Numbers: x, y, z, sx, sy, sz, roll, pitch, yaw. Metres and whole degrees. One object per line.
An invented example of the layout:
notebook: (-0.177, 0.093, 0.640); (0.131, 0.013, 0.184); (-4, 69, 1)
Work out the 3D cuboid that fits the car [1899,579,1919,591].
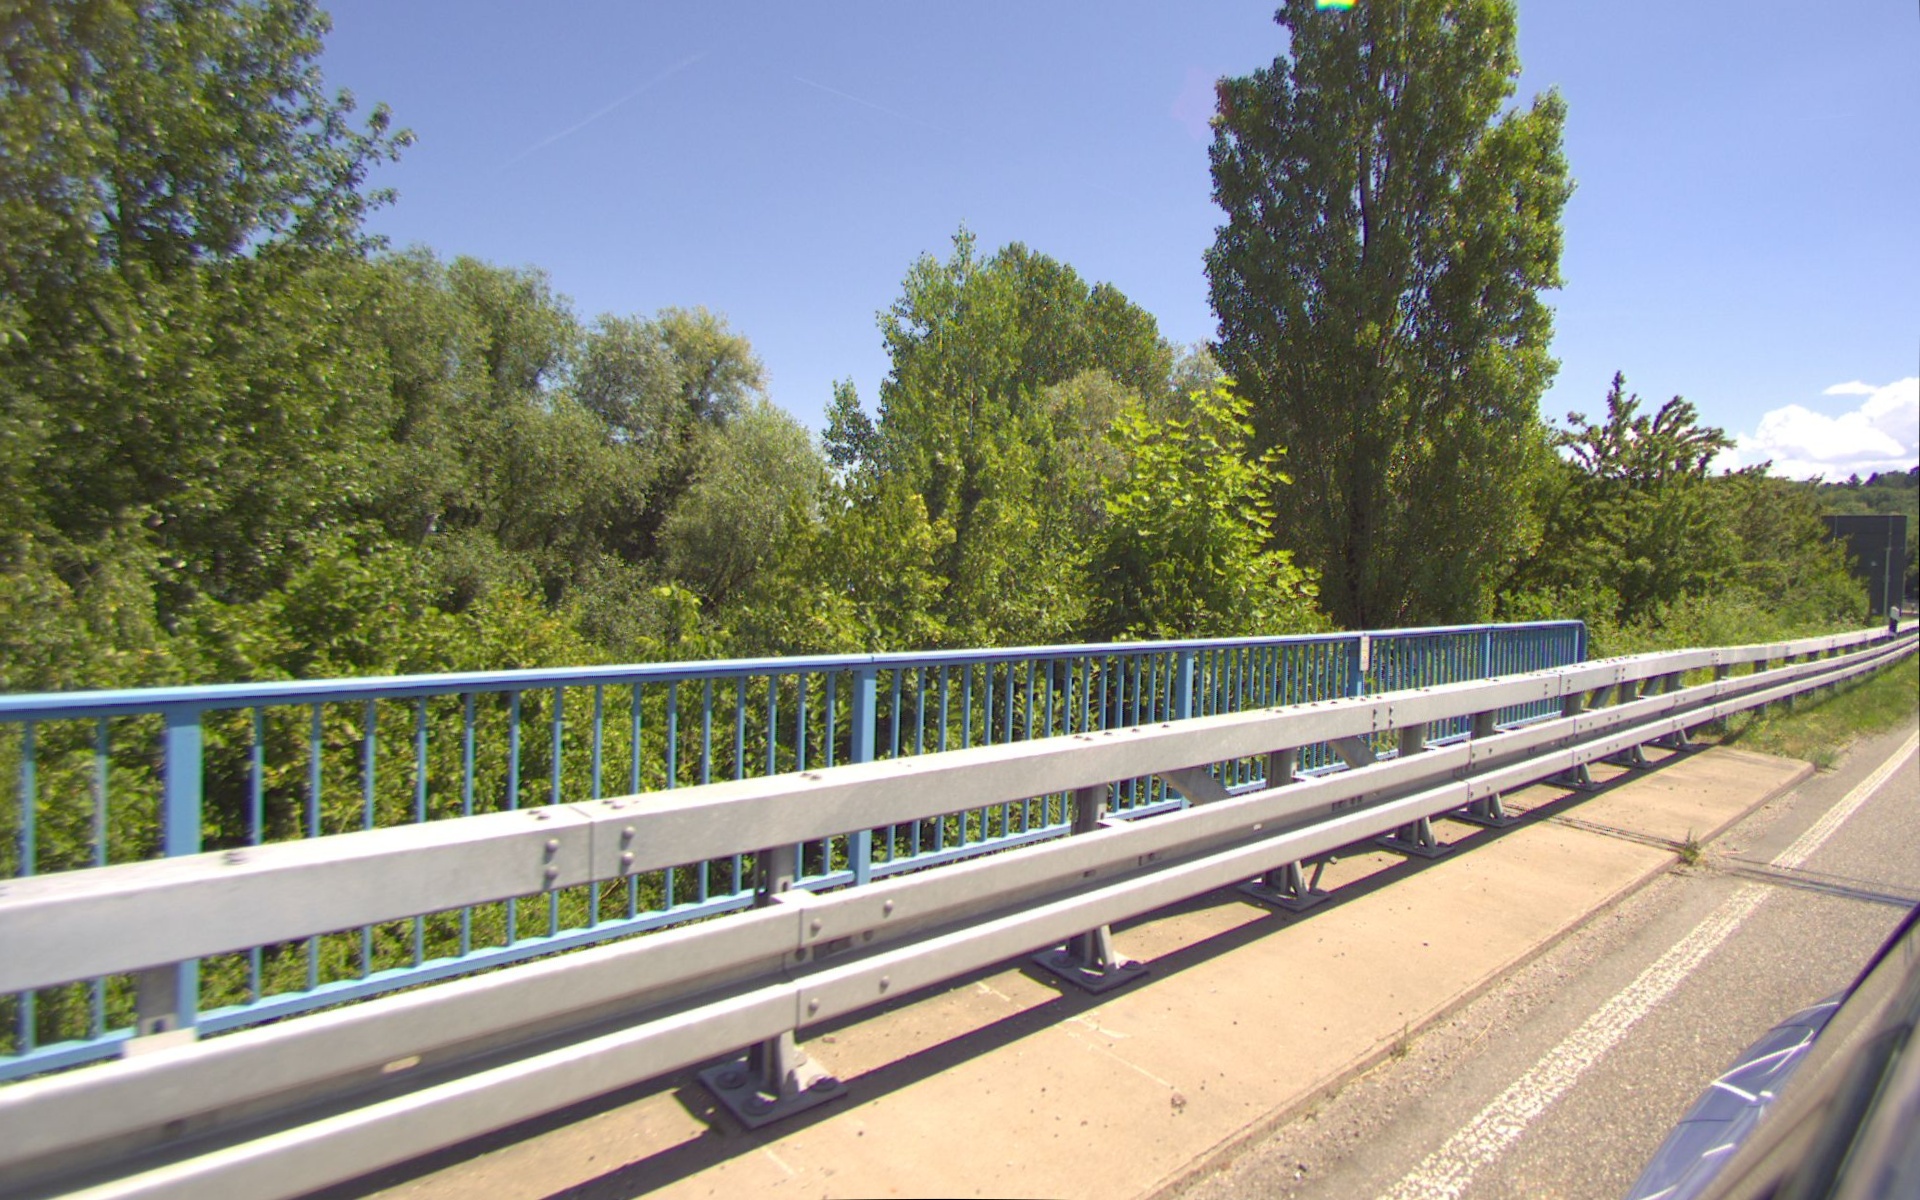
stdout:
car: (166.310, -2.570, 176.571); (2.188, 1.916, 4.872); (1, 2, 25)
